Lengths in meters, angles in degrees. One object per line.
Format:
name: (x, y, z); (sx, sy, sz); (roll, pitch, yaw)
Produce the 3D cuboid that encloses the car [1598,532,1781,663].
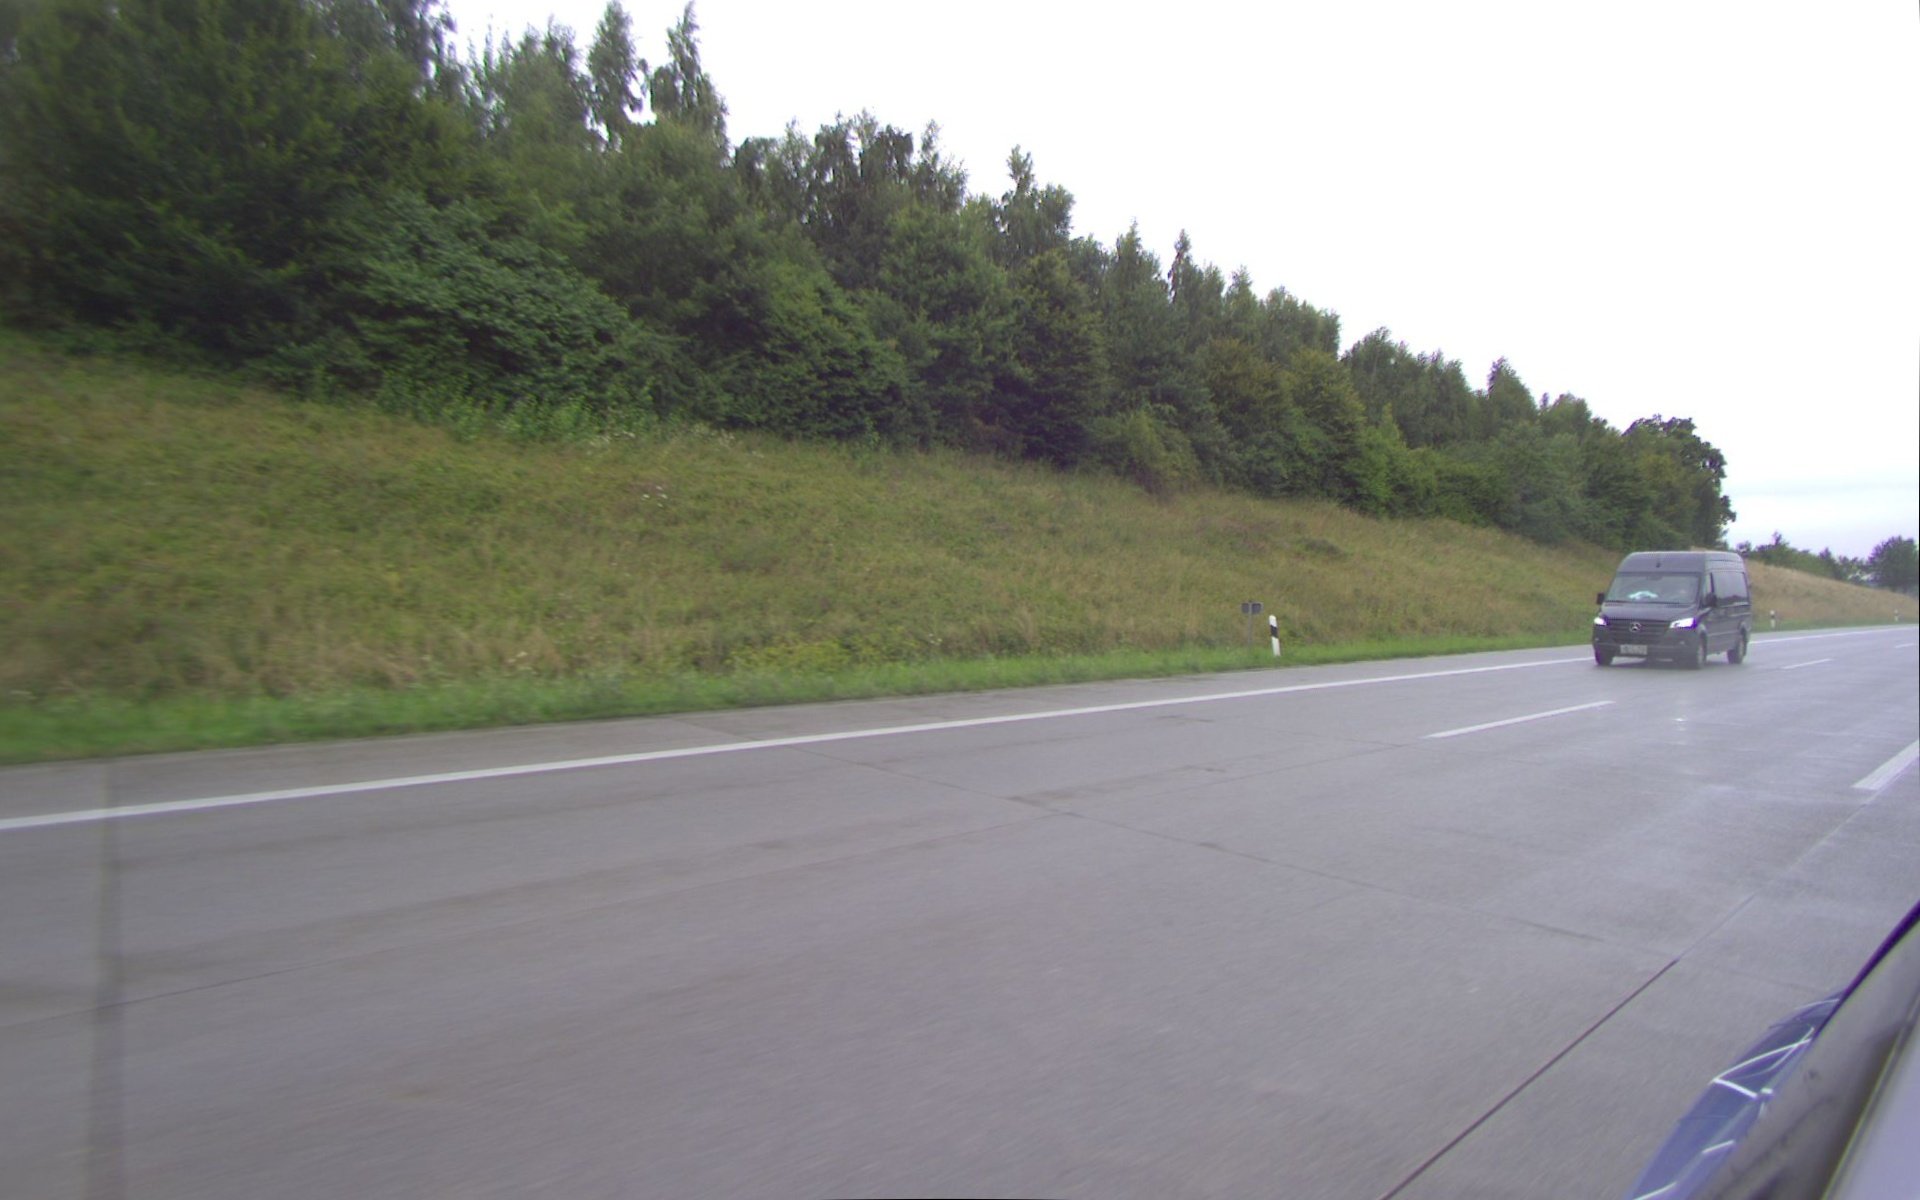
car: (17.140, -0.038, 23.601); (6.468, 2.693, 1.945); (1, -1, -40)
